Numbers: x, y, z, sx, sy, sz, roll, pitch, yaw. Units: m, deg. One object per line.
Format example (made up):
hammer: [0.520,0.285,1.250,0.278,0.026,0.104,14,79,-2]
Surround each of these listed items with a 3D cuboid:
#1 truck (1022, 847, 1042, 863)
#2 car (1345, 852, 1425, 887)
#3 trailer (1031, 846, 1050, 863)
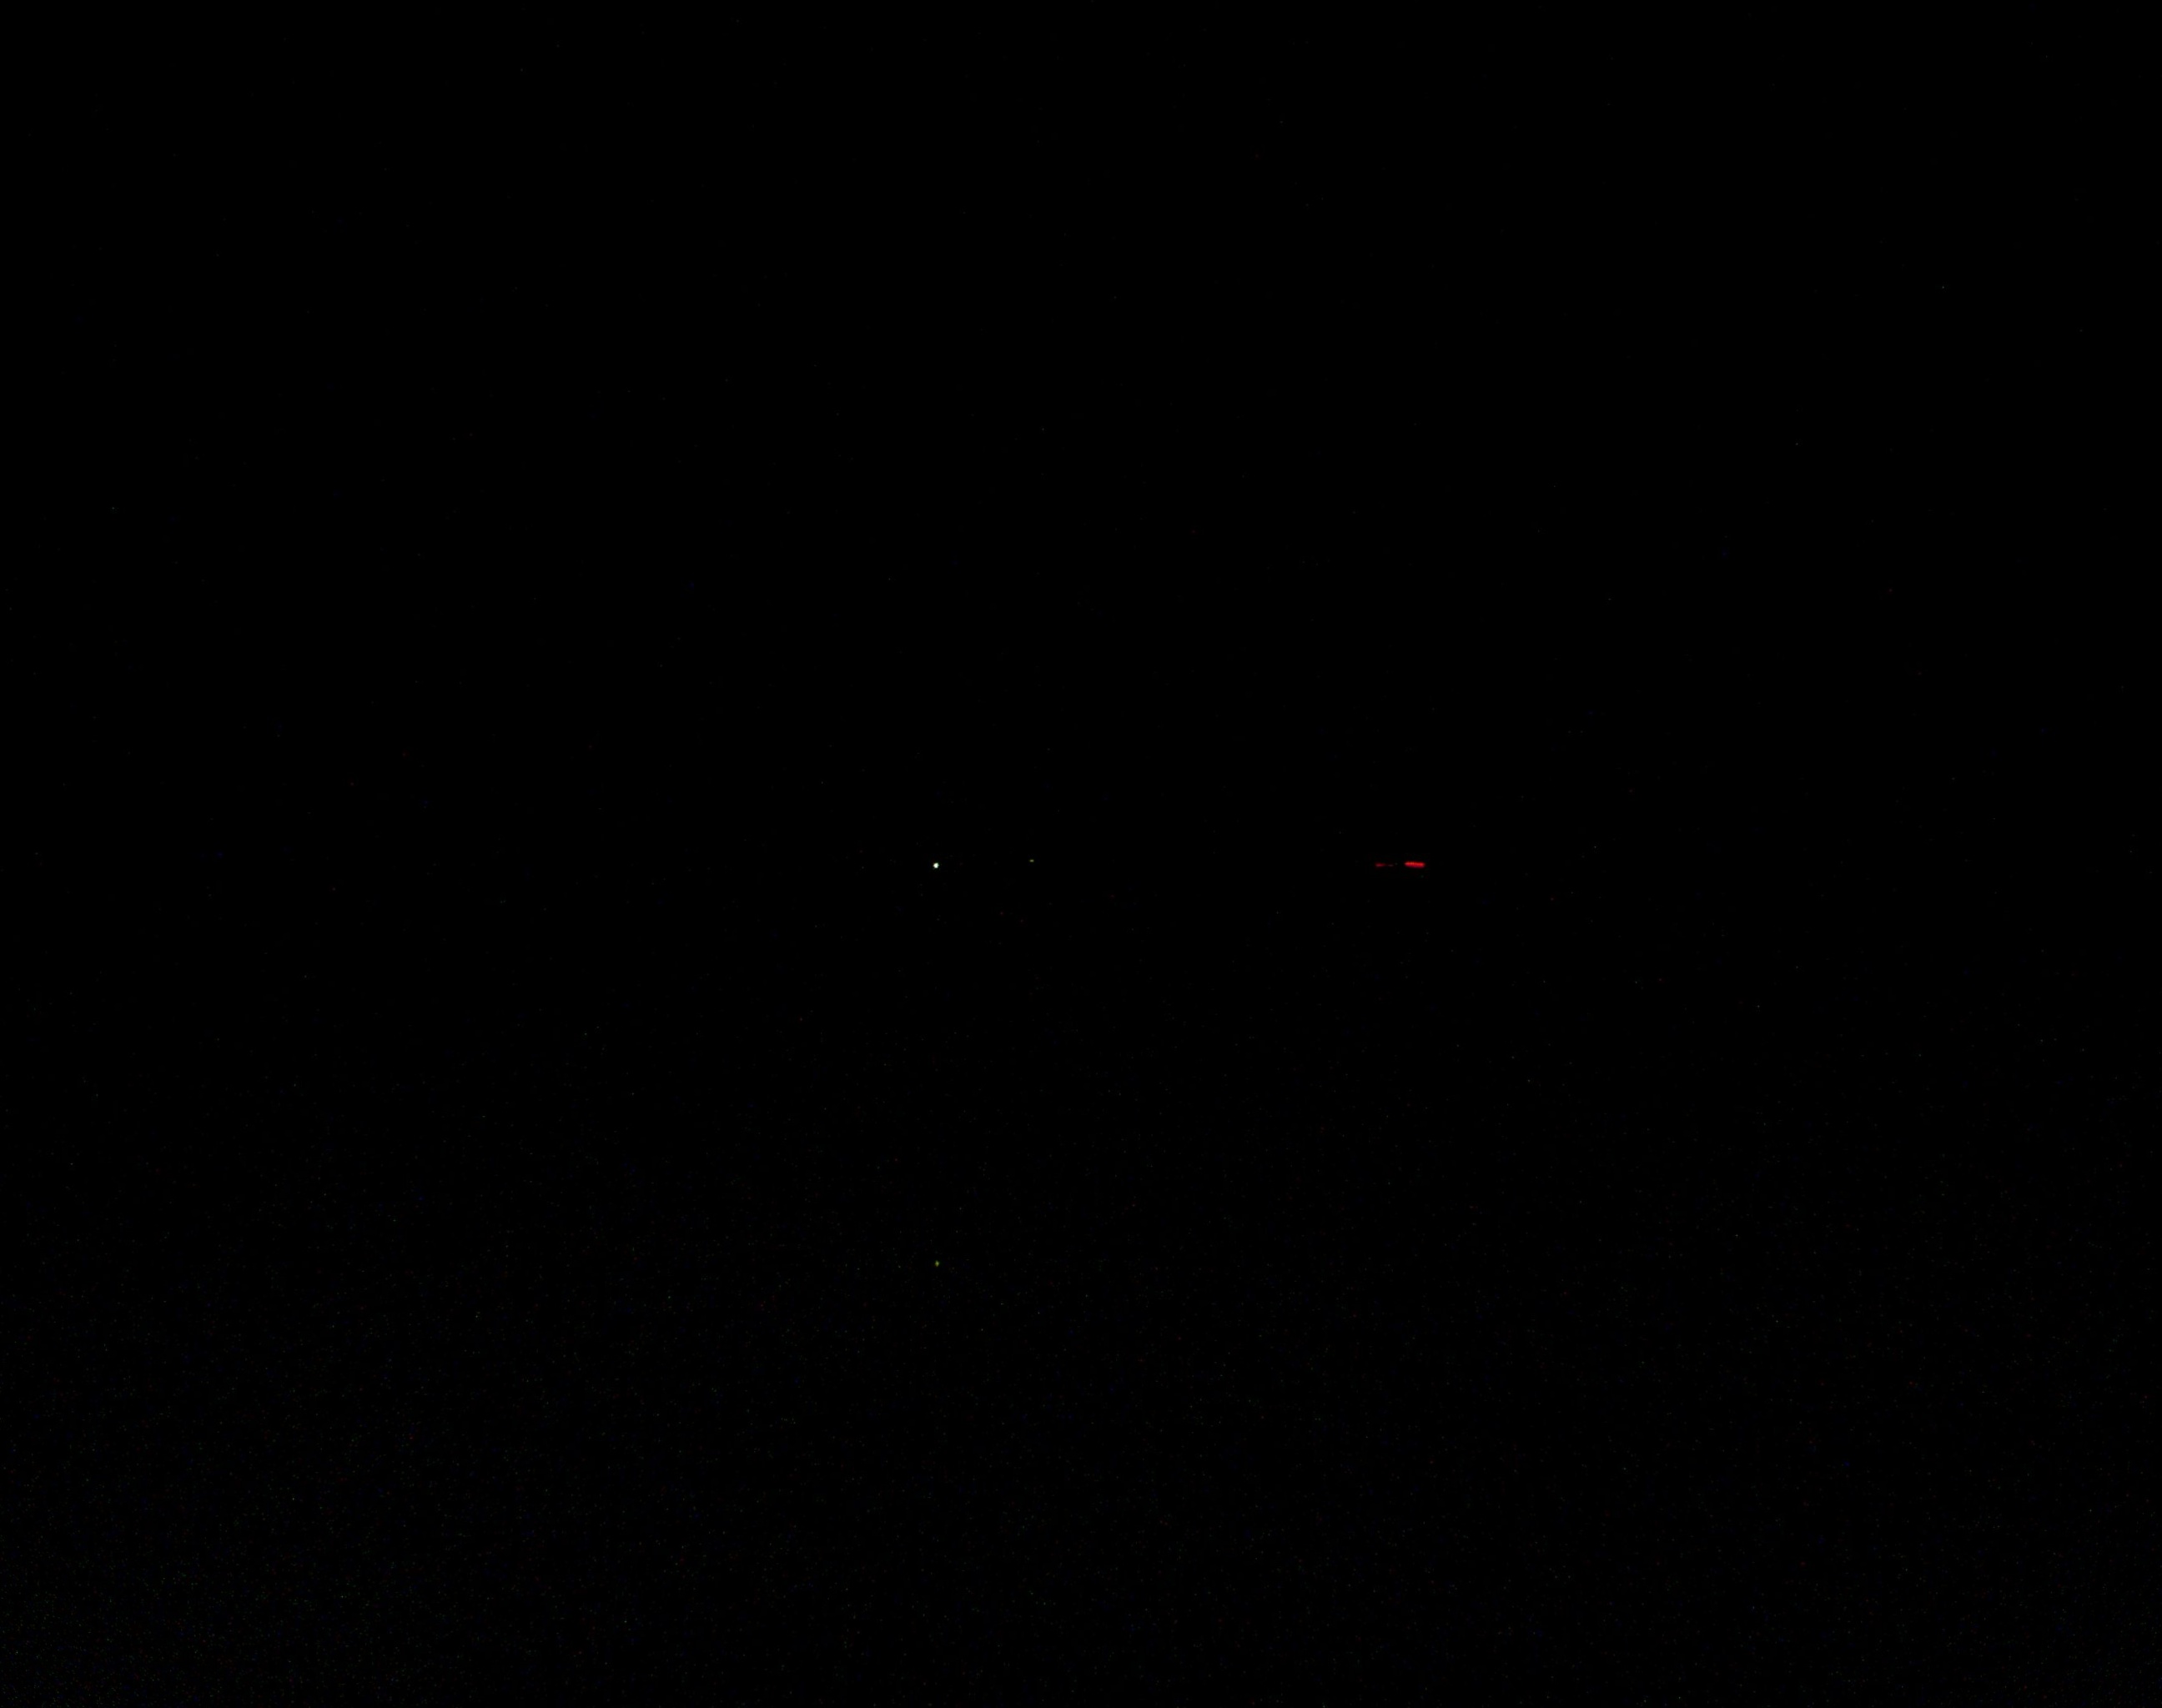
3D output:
truck: [-12.715,0.242,195.074,2.691,4.020,10.638,-1,0,-17]
car: [15.310,0.748,38.551,1.999,1.647,4.532,-1,0,-4]
trailer: [-9.850,0.171,185.599,2.728,3.933,9.036,-1,0,-15]
